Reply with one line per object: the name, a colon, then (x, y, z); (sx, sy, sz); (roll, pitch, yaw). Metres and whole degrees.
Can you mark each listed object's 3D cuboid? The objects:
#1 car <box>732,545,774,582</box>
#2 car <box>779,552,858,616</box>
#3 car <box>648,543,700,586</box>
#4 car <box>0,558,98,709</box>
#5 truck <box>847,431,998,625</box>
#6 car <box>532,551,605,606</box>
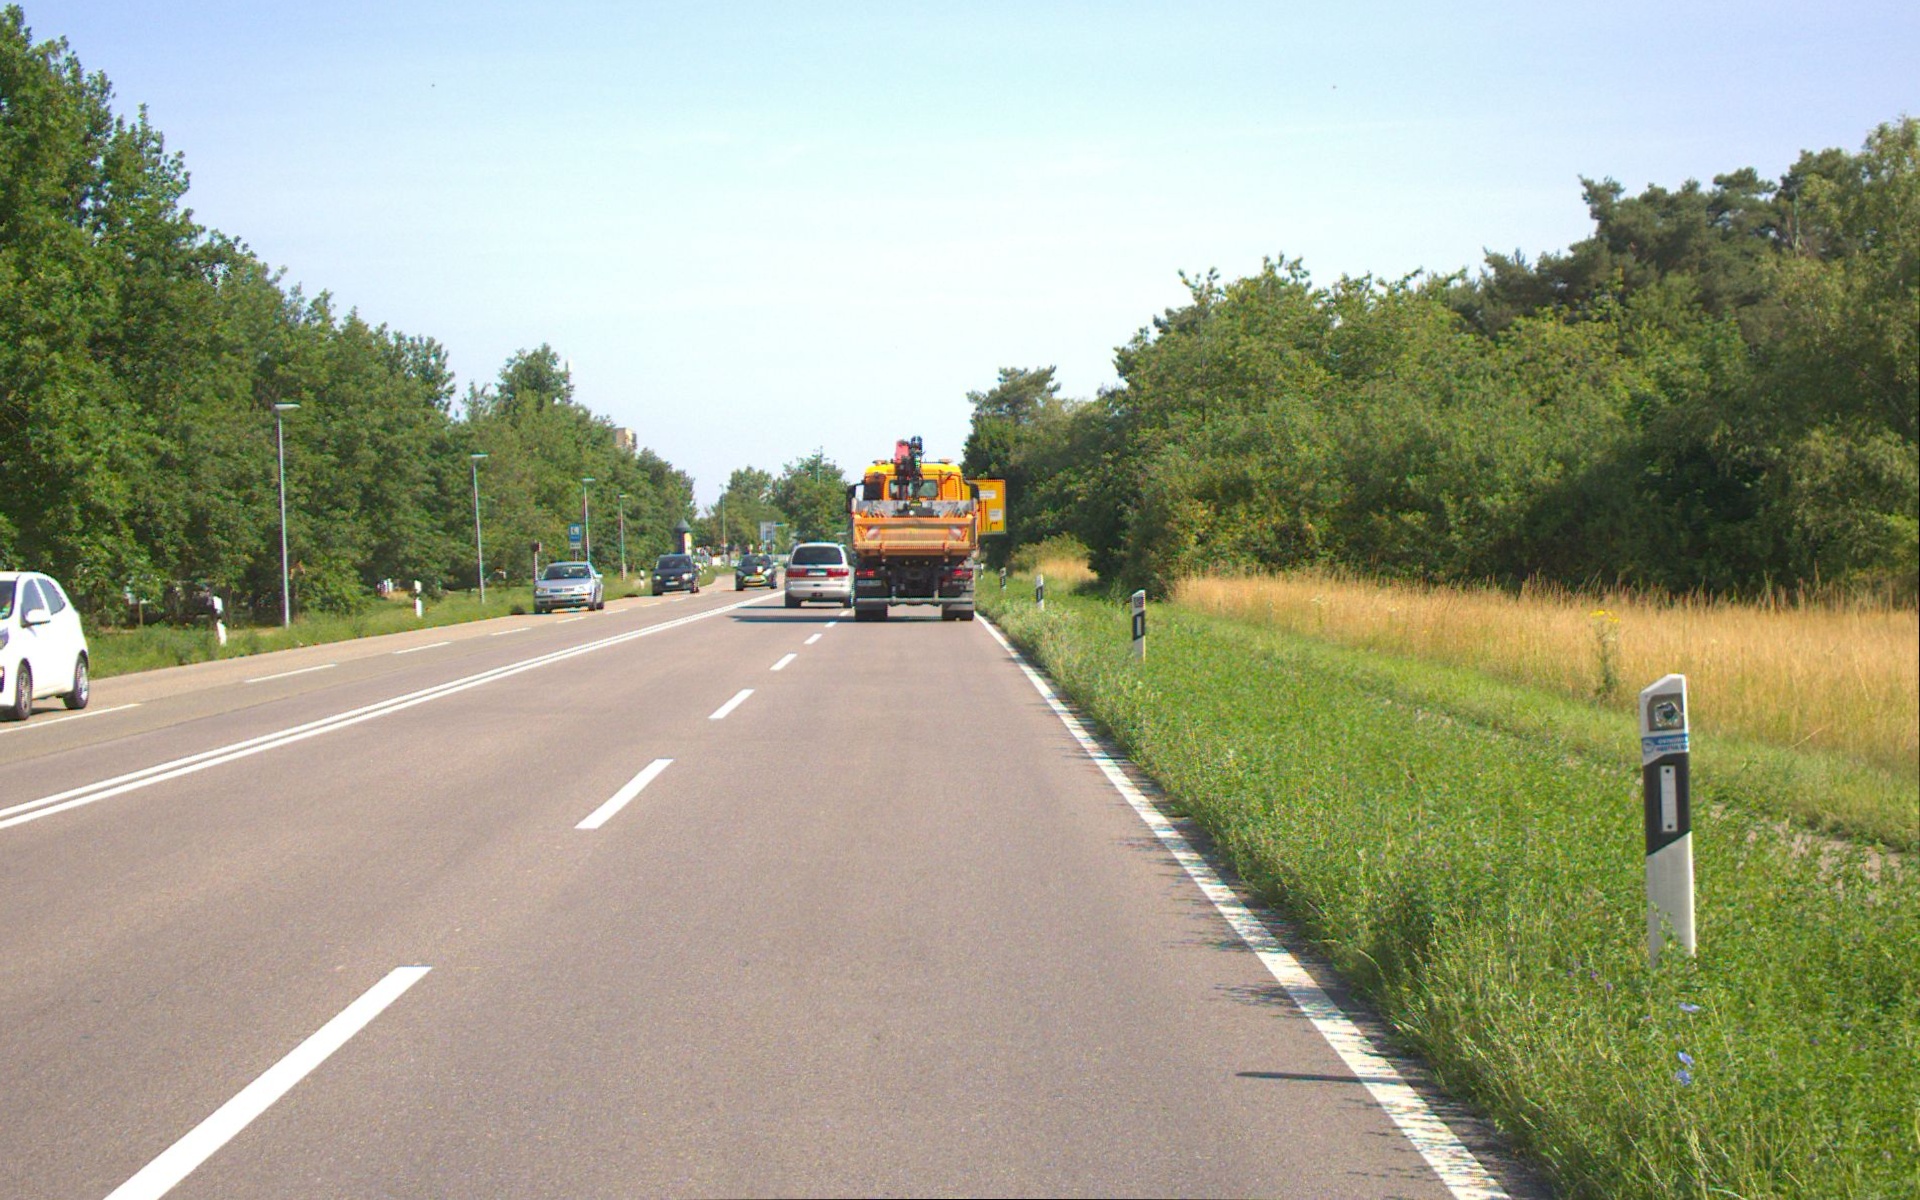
car: (-8.605, -1.537, 142.959); (1.517, 1.445, 3.775); (-3, 1, -1)
car: (-3.688, -0.424, 89.592); (1.993, 1.578, 4.001); (-1, 1, -3)
car: (-11.741, -1.464, 141.339); (1.825, 1.666, 4.390); (-3, 1, -2)
car: (-10.023, 0.346, 34.763); (1.659, 1.432, 3.736); (-3, 1, -1)
truck: (-0.870, -1.496, 72.951); (2.871, 3.867, 7.401); (1, 1, -3)
car: (-11.106, -0.616, 97.684); (1.598, 1.437, 4.000); (-3, 1, -1)
